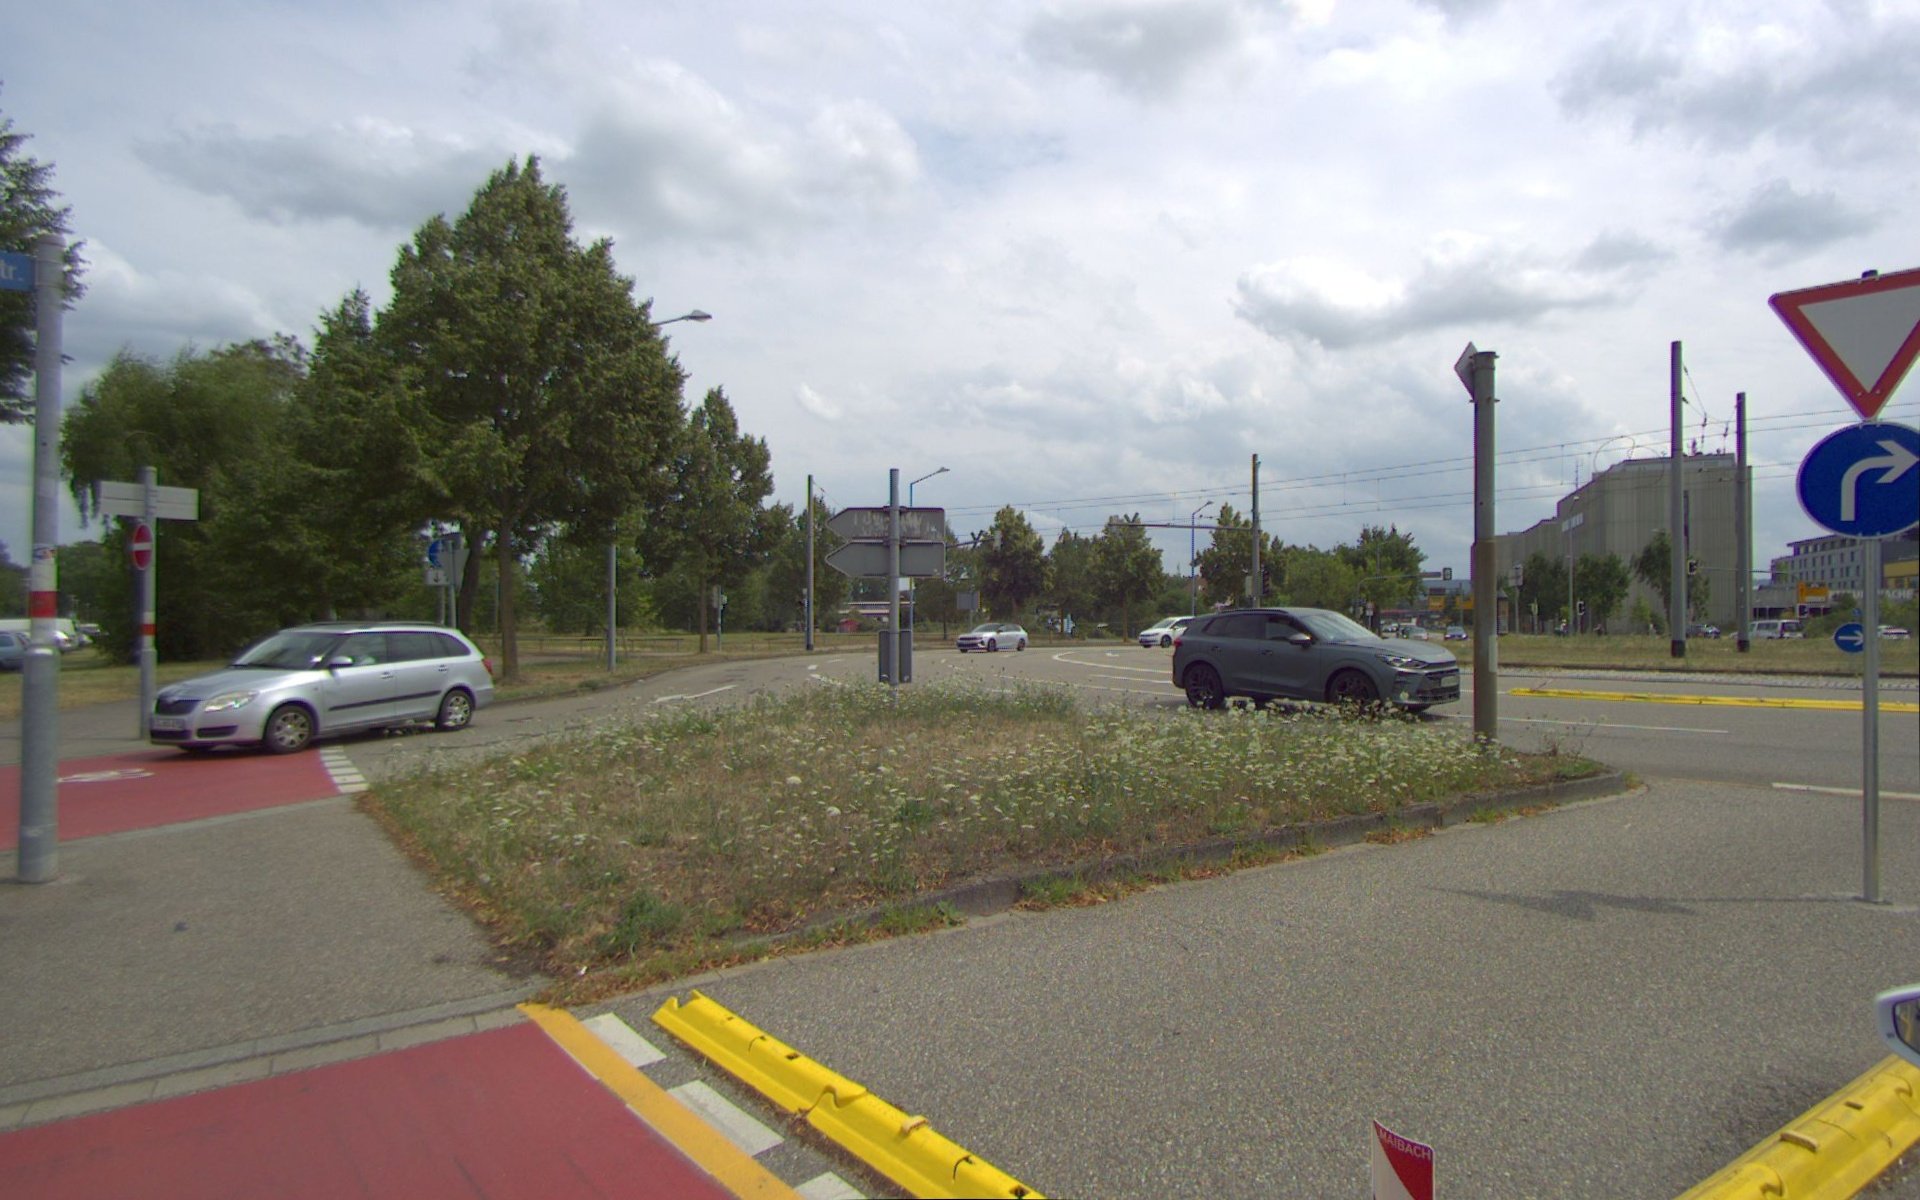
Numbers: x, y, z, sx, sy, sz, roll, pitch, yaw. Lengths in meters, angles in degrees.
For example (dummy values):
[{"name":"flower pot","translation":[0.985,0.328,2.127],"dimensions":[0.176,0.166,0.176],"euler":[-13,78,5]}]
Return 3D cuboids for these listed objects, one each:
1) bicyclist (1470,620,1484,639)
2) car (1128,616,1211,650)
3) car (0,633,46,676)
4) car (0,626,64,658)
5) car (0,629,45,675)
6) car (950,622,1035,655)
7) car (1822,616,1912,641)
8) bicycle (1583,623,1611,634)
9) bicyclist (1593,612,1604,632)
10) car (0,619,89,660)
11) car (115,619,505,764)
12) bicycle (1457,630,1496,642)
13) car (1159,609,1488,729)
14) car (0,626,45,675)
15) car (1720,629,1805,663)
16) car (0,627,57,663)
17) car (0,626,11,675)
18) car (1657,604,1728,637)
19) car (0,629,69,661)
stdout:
[{"name":"bicyclist","translation":[41.111,2.340,79.871],"dimensions":[0.660,1.428,0.864],"euler":[0,-1,4]},{"name":"car","translation":[11.534,1.811,55.335],"dimensions":[4.305,1.687,1.923],"euler":[-1,-1,-31]},{"name":"car","translation":[-35.405,1.928,35.191],"dimensions":[4.847,1.491,1.812],"euler":[1,-1,-39]},{"name":"car","translation":[-44.641,1.947,46.718],"dimensions":[4.275,1.491,1.812],"euler":[1,-1,-39]},{"name":"car","translation":[-33.826,1.740,33.418],"dimensions":[4.847,1.491,1.812],"euler":[1,-1,-39]},{"name":"car","translation":[1.681,1.838,49.471],"dimensions":[1.965,1.502,5.173],"euler":[0,-1,31]},{"name":"car","translation":[57.284,1.773,63.533],"dimensions":[1.800,1.483,3.995],"euler":[2,-1,-8]},{"name":"bicycle","translation":[50.234,2.227,79.261],"dimensions":[1.807,0.889,0.528],"euler":[-1,-1,40]},{"name":"bicyclist","translation":[50.342,1.725,79.210],"dimensions":[0.641,1.579,0.528],"euler":[-1,-1,40]},{"name":"car","translation":[-49.361,2.032,52.672],"dimensions":[5.527,2.083,2.175],"euler":[1,-1,-41]},{"name":"car","translation":[-8.018,1.019,12.938],"dimensions":[1.596,1.539,4.220],"euler":[0,-1,16]},{"name":"bicycle","translation":[41.035,2.861,79.871],"dimensions":[2.605,0.866,0.864],"euler":[0,-1,4]},{"name":"car","translation":[5.430,0.950,15.551],"dimensions":[2.045,1.572,4.429],"euler":[0,-1,-36]},{"name":"car","translation":[-31.884,1.661,31.478],"dimensions":[4.671,1.491,1.811],"euler":[-2,1,-42]},{"name":"car","translation":[53.003,3.002,66.451],"dimensions":[1.961,2.040,4.361],"euler":[2,-1,-2]},{"name":"car","translation":[-41.420,1.906,42.698],"dimensions":[4.350,1.491,1.812],"euler":[1,-1,-39]},{"name":"car","translation":[-30.099,1.564,29.701],"dimensions":[1.464,1.442,2.898],"euler":[-2,0,44]},{"name":"car","translation":[48.205,1.329,66.205],"dimensions":[1.960,2.040,4.002],"euler":[2,-1,5]},{"name":"car","translation":[-46.222,2.193,48.778],"dimensions":[4.275,1.491,1.812],"euler":[1,-1,-39]}]
